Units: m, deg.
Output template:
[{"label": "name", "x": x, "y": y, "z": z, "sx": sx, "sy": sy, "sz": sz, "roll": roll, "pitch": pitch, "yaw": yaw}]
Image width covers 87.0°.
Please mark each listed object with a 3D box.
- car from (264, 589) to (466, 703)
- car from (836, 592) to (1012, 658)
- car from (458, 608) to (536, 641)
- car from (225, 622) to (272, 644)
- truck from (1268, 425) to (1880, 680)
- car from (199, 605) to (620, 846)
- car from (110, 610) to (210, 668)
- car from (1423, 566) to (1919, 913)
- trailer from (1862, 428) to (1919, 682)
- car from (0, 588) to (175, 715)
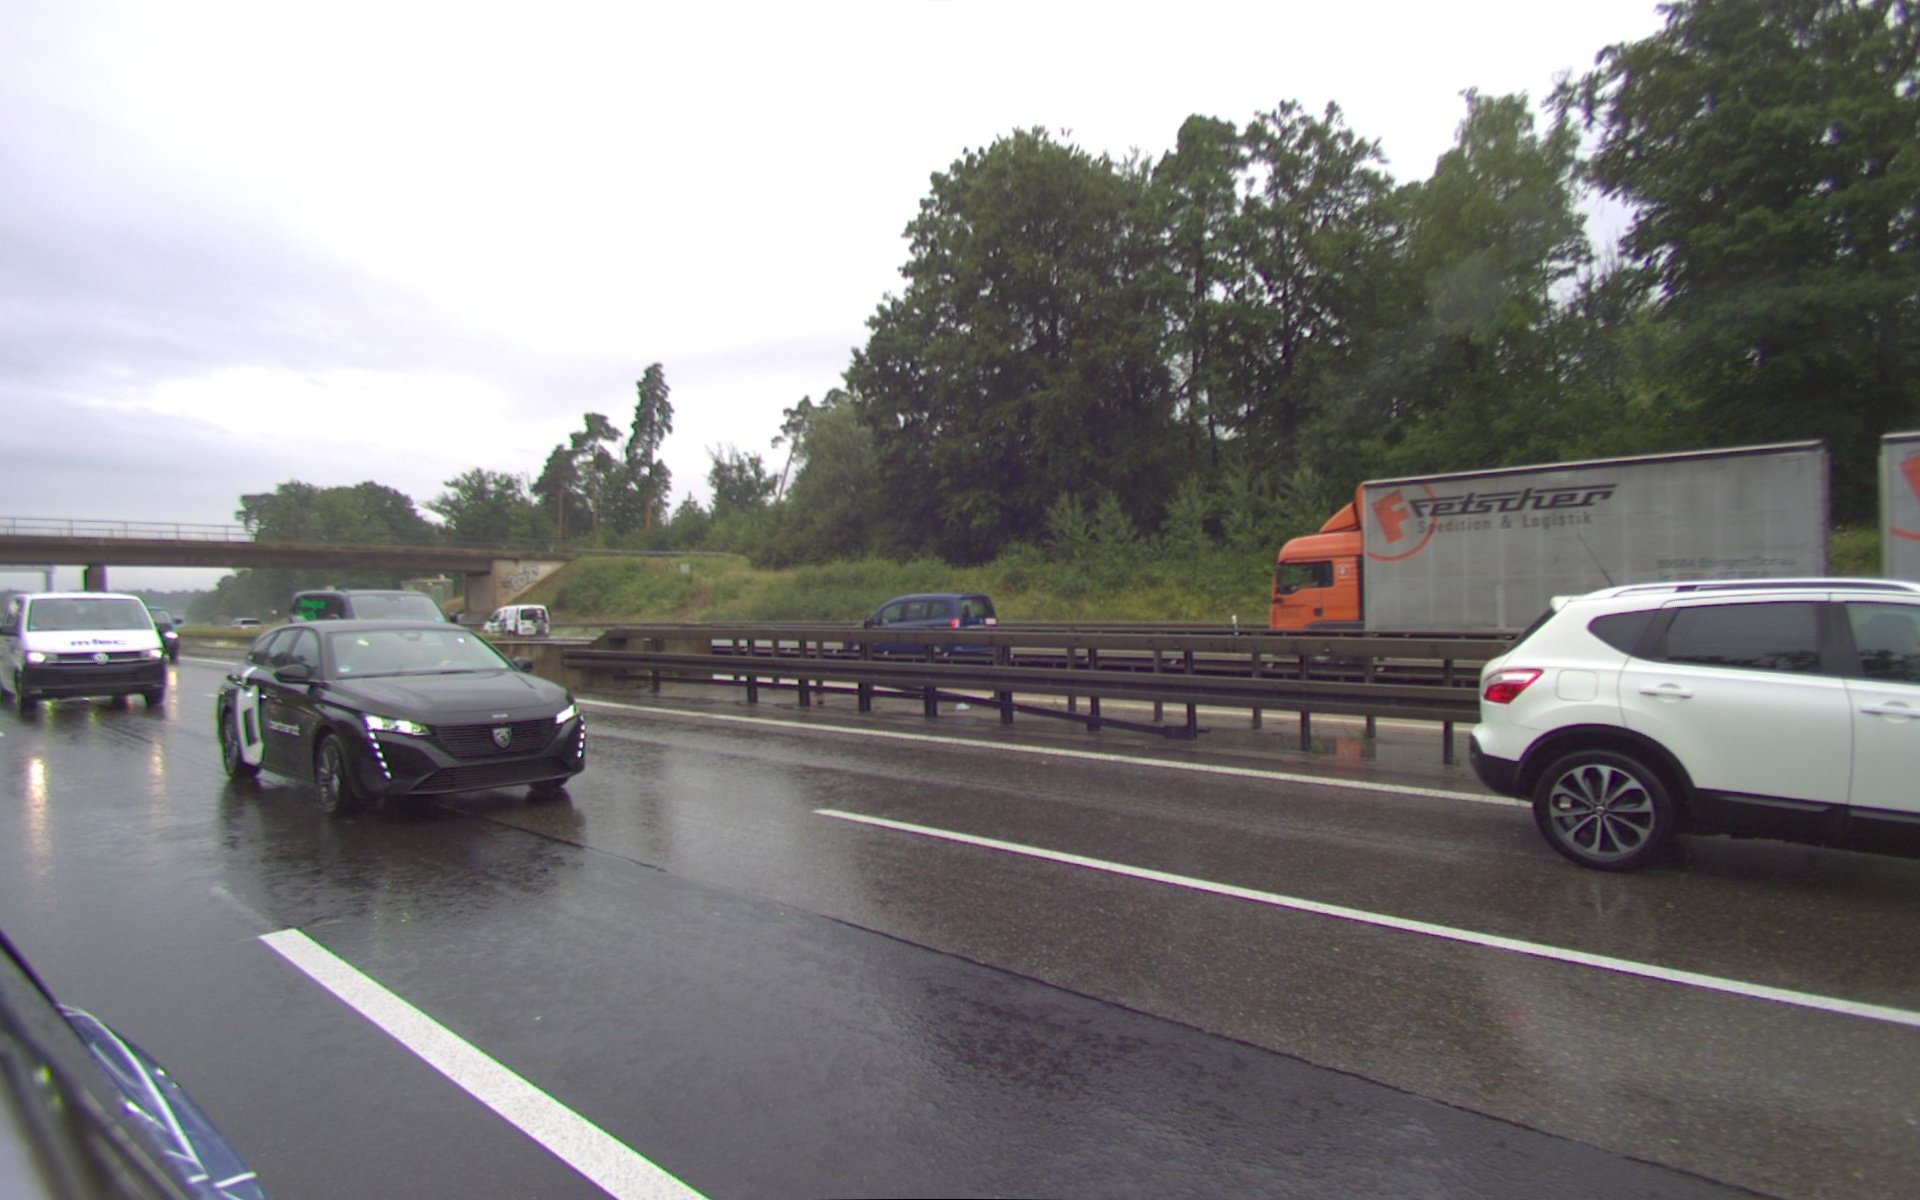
[{"label": "car", "x": -11.761, "y": 0.809, "z": 19.821, "sx": 5.242, "sy": 1.958, "sz": 1.970, "roll": -1, "pitch": 0, "yaw": 43}, {"label": "car", "x": -0.960, "y": 0.611, "z": 25.233, "sx": 4.330, "sy": 1.509, "sz": 1.817, "roll": -2, "pitch": -1, "yaw": 42}, {"label": "car", "x": -22.248, "y": 1.170, "z": 48.550, "sx": 4.330, "sy": 1.509, "sz": 1.817, "roll": -2, "pitch": -1, "yaw": 41}, {"label": "car", "x": -51.771, "y": 2.411, "z": 73.596, "sx": 4.608, "sy": 1.509, "sz": 1.816, "roll": -2, "pitch": -1, "yaw": 42}, {"label": "truck", "x": 11.452, "y": -0.651, "z": 20.105, "sx": 10.027, "sy": 3.961, "sz": 2.674, "roll": -1, "pitch": -1, "yaw": 43}, {"label": "car", "x": -4.876, "y": 0.844, "z": 8.646, "sx": 4.466, "sy": 1.516, "sz": 1.825, "roll": -2, "pitch": -1, "yaw": 43}, {"label": "car", "x": -28.502, "y": 1.334, "z": 36.018, "sx": 4.756, "sy": 1.877, "sz": 1.891, "roll": -1, "pitch": 0, "yaw": 40}, {"label": "car", "x": 5.082, "y": 0.640, "z": 5.328, "sx": 4.465, "sy": 1.603, "sz": 1.826, "roll": -2, "pitch": -1, "yaw": 42}, {"label": "trailer", "x": 18.347, "y": -0.751, "z": 13.746, "sx": 9.003, "sy": 3.847, "sz": 2.654, "roll": -1, "pitch": -1, "yaw": 42}, {"label": "car", "x": -15.261, "y": 0.812, "z": 17.446, "sx": 4.767, "sy": 1.894, "sz": 1.968, "roll": -2, "pitch": -1, "yaw": 43}]
